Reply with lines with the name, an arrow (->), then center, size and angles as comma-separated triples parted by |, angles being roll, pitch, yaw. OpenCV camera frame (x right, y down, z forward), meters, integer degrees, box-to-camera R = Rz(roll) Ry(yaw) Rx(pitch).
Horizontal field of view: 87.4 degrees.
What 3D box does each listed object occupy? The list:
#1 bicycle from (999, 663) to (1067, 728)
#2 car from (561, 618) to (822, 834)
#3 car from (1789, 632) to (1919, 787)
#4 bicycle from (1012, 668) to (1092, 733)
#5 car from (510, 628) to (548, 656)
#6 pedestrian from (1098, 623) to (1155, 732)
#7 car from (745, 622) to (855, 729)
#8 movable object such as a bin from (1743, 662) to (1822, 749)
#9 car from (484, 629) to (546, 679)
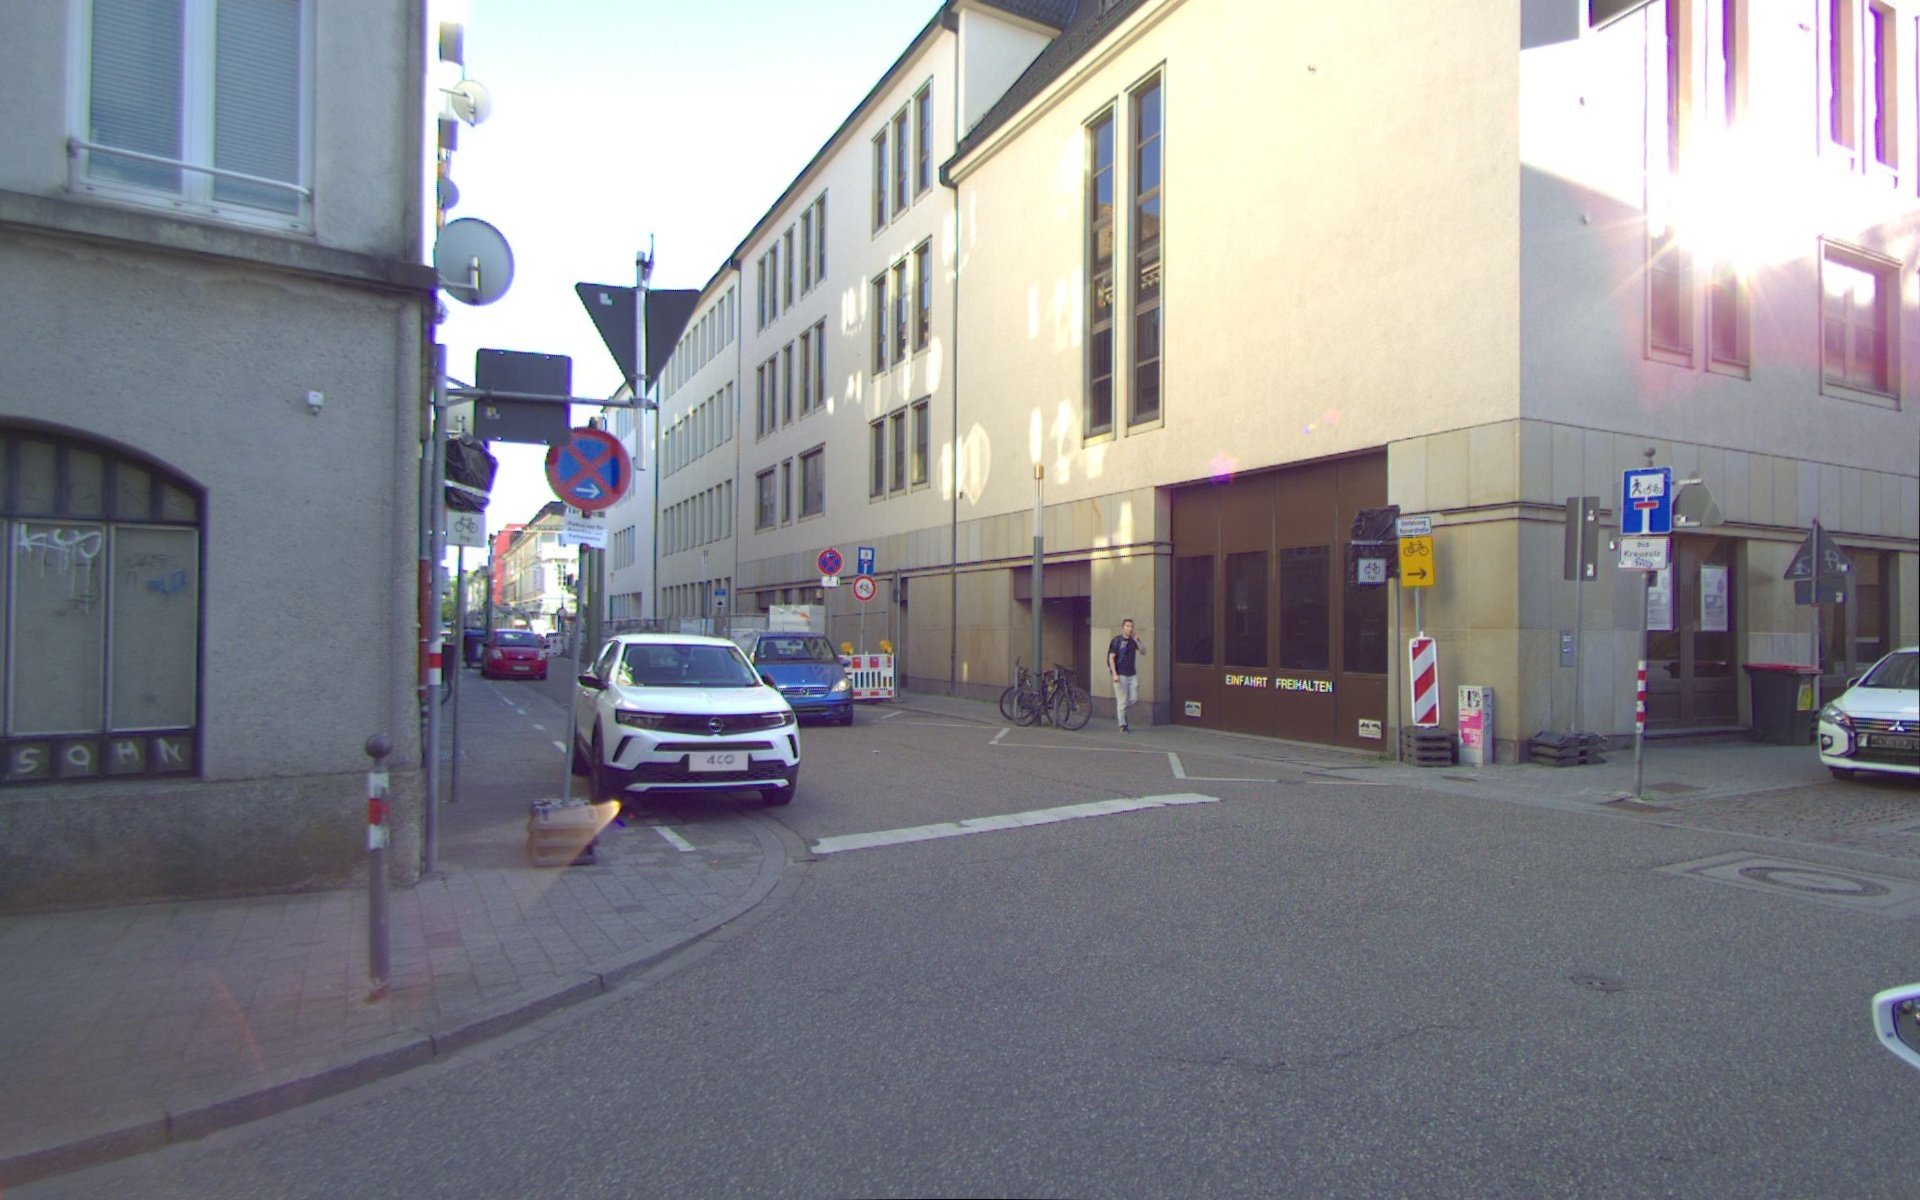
bicycle -> 1.262, 1.655, 17.629 | 0.268, 1.017, 1.472 | 1, -1, -38
car -> -2.849, 1.049, 10.002 | 1.740, 1.677, 3.973 | 1, -2, -27
car -> 11.042, 1.131, 11.103 | 3.748, 1.526, 1.663 | 1, -3, -30
bicycle -> 1.522, 1.665, 16.874 | 0.223, 0.978, 1.680 | 1, -1, -40
car -> -27.466, 2.645, 63.996 | 1.825, 1.690, 3.776 | 1, -2, -29
pedestrian -> 2.721, 1.241, 16.389 | 0.681, 1.725, 0.663 | 0, 0, 36
car -> -2.934, 1.314, 17.964 | 1.732, 1.677, 3.993 | 1, -3, -12
movable object such as a bin -> 11.021, 1.393, 13.468 | 0.705, 1.075, 0.605 | 2, 1, -33
car -> -14.019, 1.655, 31.572 | 1.659, 1.461, 3.560 | 1, -2, -25
